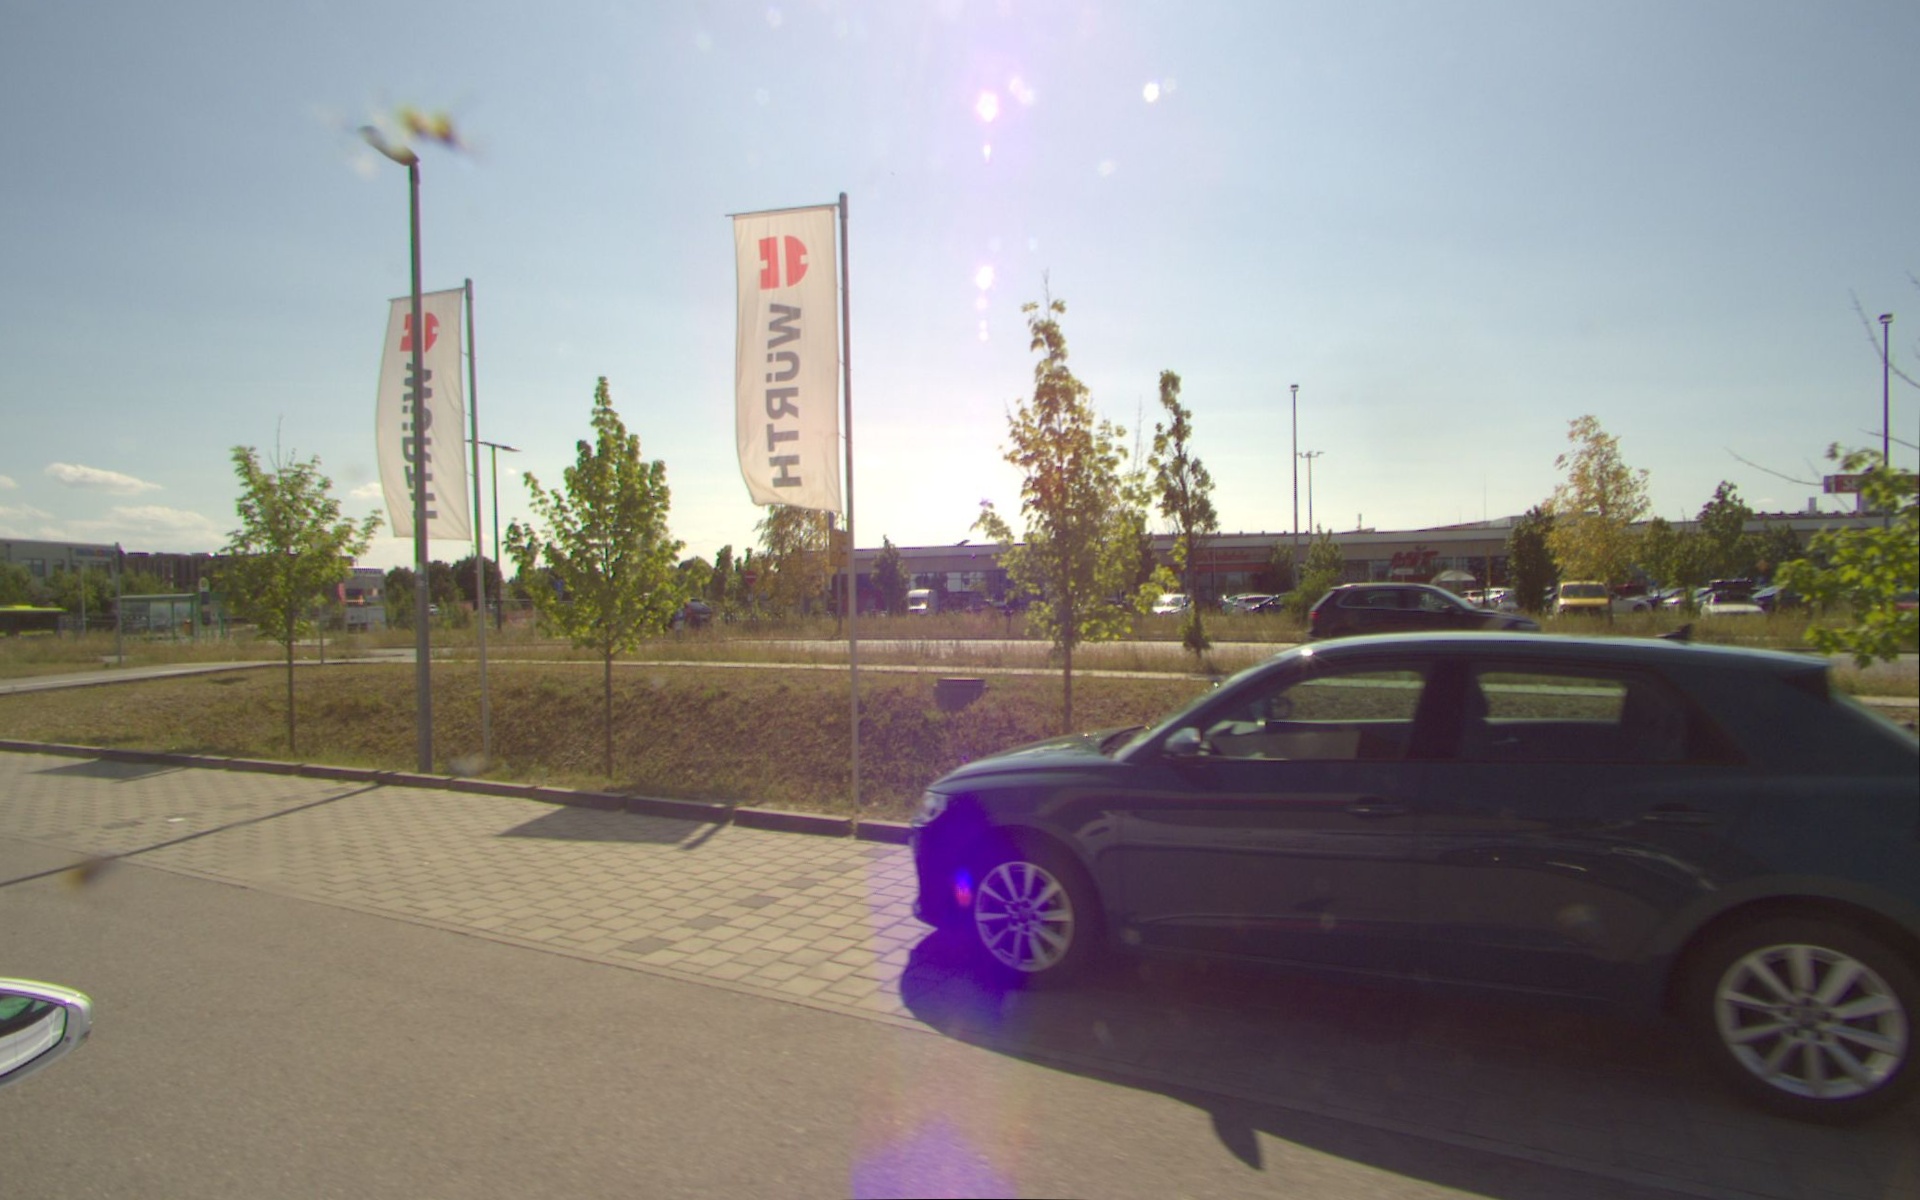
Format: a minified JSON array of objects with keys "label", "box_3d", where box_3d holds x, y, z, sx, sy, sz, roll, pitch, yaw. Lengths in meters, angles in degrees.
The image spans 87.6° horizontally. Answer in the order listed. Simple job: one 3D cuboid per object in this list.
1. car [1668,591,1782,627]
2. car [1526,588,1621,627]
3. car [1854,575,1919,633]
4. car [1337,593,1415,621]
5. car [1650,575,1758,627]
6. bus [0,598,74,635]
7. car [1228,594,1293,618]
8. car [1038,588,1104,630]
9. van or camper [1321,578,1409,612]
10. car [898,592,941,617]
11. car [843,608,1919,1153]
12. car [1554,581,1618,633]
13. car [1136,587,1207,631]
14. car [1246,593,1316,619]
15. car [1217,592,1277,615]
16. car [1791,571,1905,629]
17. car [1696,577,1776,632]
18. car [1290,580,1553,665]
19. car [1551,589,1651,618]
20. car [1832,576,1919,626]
[{"label":"car","box_3d":[40.806,0.495,53.546,4.402,1.888,1.998,0,0,15]},{"label":"car","box_3d":[36.440,0.462,59.607,4.398,2.220,1.999,0,0,9]},{"label":"car","box_3d":[34.396,0.126,36.623,1.856,2.040,4.115,0,1,33]},{"label":"car","box_3d":[23.763,0.414,57.368,3.927,1.528,1.872,0,0,16]},{"label":"car","box_3d":[41.703,0.084,56.220,4.398,2.859,1.999,0,0,9]},{"label":"bus","box_3d":[-74.643,1.266,78.226,2.532,2.771,11.557,0,0,-11]},{"label":"car","box_3d":[18.228,0.357,60.863,3.661,1.409,1.731,-1,0,11]},{"label":"car","box_3d":[5.772,0.464,51.568,2.052,2.040,5.215,-1,0,22]},{"label":"van or camper","box_3d":[25.231,-0.286,62.575,4.960,2.041,1.997,0,1,17]},{"label":"car","box_3d":[-3.317,0.352,83.740,2.187,2.003,6.692,-1,0,10]},{"label":"car","box_3d":[1.749,0.780,4.228,4.160,1.469,1.838,0,1,28]},{"label":"car","box_3d":[25.986,0.277,41.710,2.133,2.040,5.090,-1,0,31]},{"label":"car","box_3d":[10.509,0.426,49.544,2.131,2.040,5.094,-1,0,28]},{"label":"car","box_3d":[18.548,0.365,58.053,3.661,1.409,1.731,-1,0,11]},{"label":"car","box_3d":[19.118,0.243,66.759,3.661,1.409,1.731,-1,0,11]},{"label":"car","box_3d":[44.500,0.008,50.218,4.400,2.859,1.998,0,0,-10]},{"label":"car","box_3d":[30.338,0.166,39.258,1.915,2.040,4.388,0,0,31]},{"label":"car","box_3d":[9.336,0.440,20.458,4.688,1.571,1.939,-1,0,29]},{"label":"car","box_3d":[35.024,0.193,54.808,4.271,1.540,1.653,0,0,16]},{"label":"car","box_3d":[53.825,0.055,58.112,4.402,2.859,1.998,0,0,15]}]
